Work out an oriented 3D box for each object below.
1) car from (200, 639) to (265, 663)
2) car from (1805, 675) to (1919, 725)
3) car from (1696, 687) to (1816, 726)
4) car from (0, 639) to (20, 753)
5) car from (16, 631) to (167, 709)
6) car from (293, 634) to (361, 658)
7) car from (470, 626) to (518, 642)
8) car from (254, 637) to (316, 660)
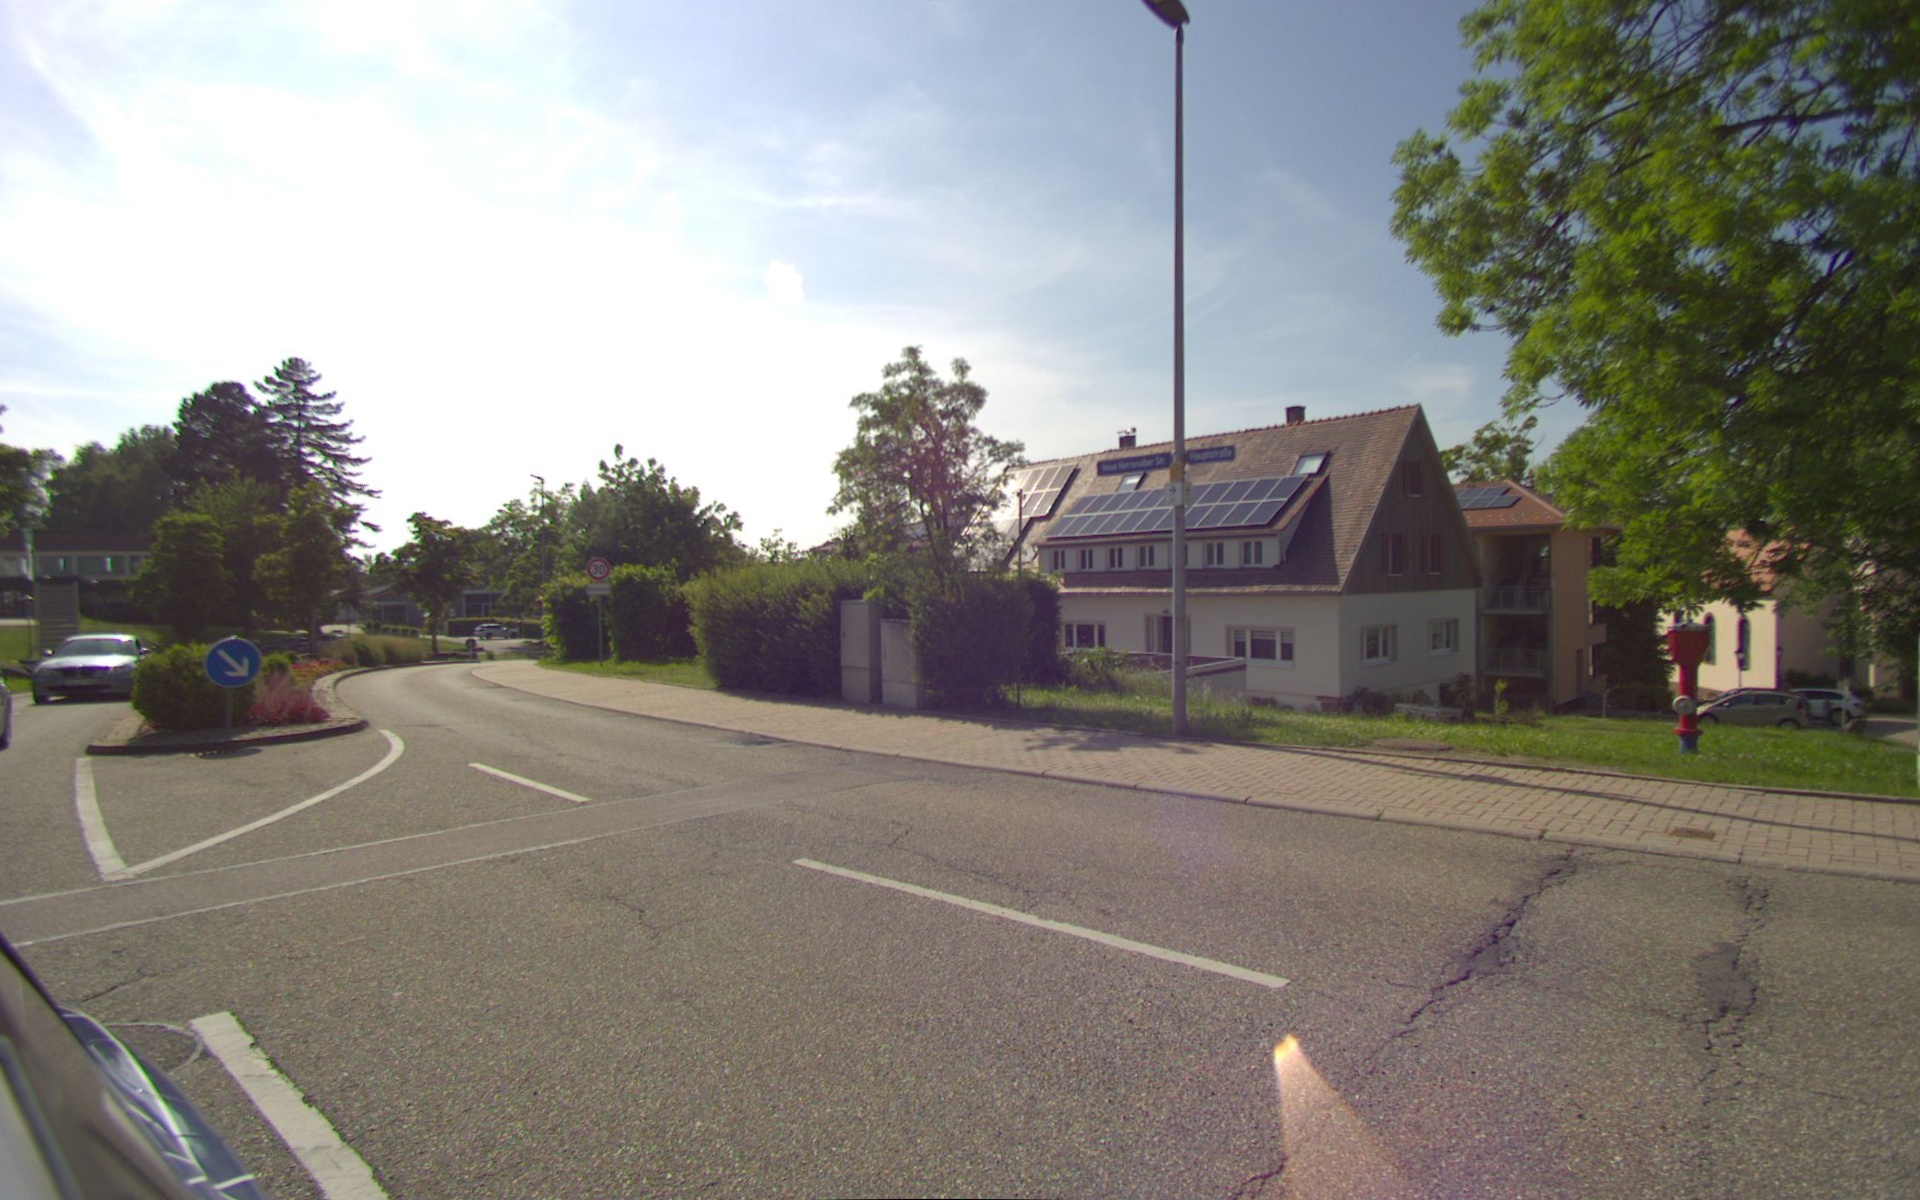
[{"bbox_3d":[-48.530,3.405,67.544,3.275,1.415,1.710,1,-1,9],"label":"car"},{"bbox_3d":[41.087,4.489,45.970,3.994,2.029,1.975,-1,-3,38],"label":"car"},{"bbox_3d":[31.394,4.165,39.986,3.619,1.364,1.457,-3,-4,40],"label":"car"},{"bbox_3d":[-11.873,1.130,11.094,1.810,1.378,4.591,1,-2,-37],"label":"car"},{"bbox_3d":[-19.086,1.498,22.436,1.872,1.519,4.011,3,-3,-32],"label":"car"},{"bbox_3d":[-47.056,3.421,75.269,3.960,1.630,1.992,1,-2,13],"label":"car"},{"bbox_3d":[-49.589,3.614,107.779,1.793,1.527,4.309,0,-3,41],"label":"car"},{"bbox_3d":[-47.326,3.394,70.964,3.504,1.438,1.678,1,-2,13],"label":"car"}]
